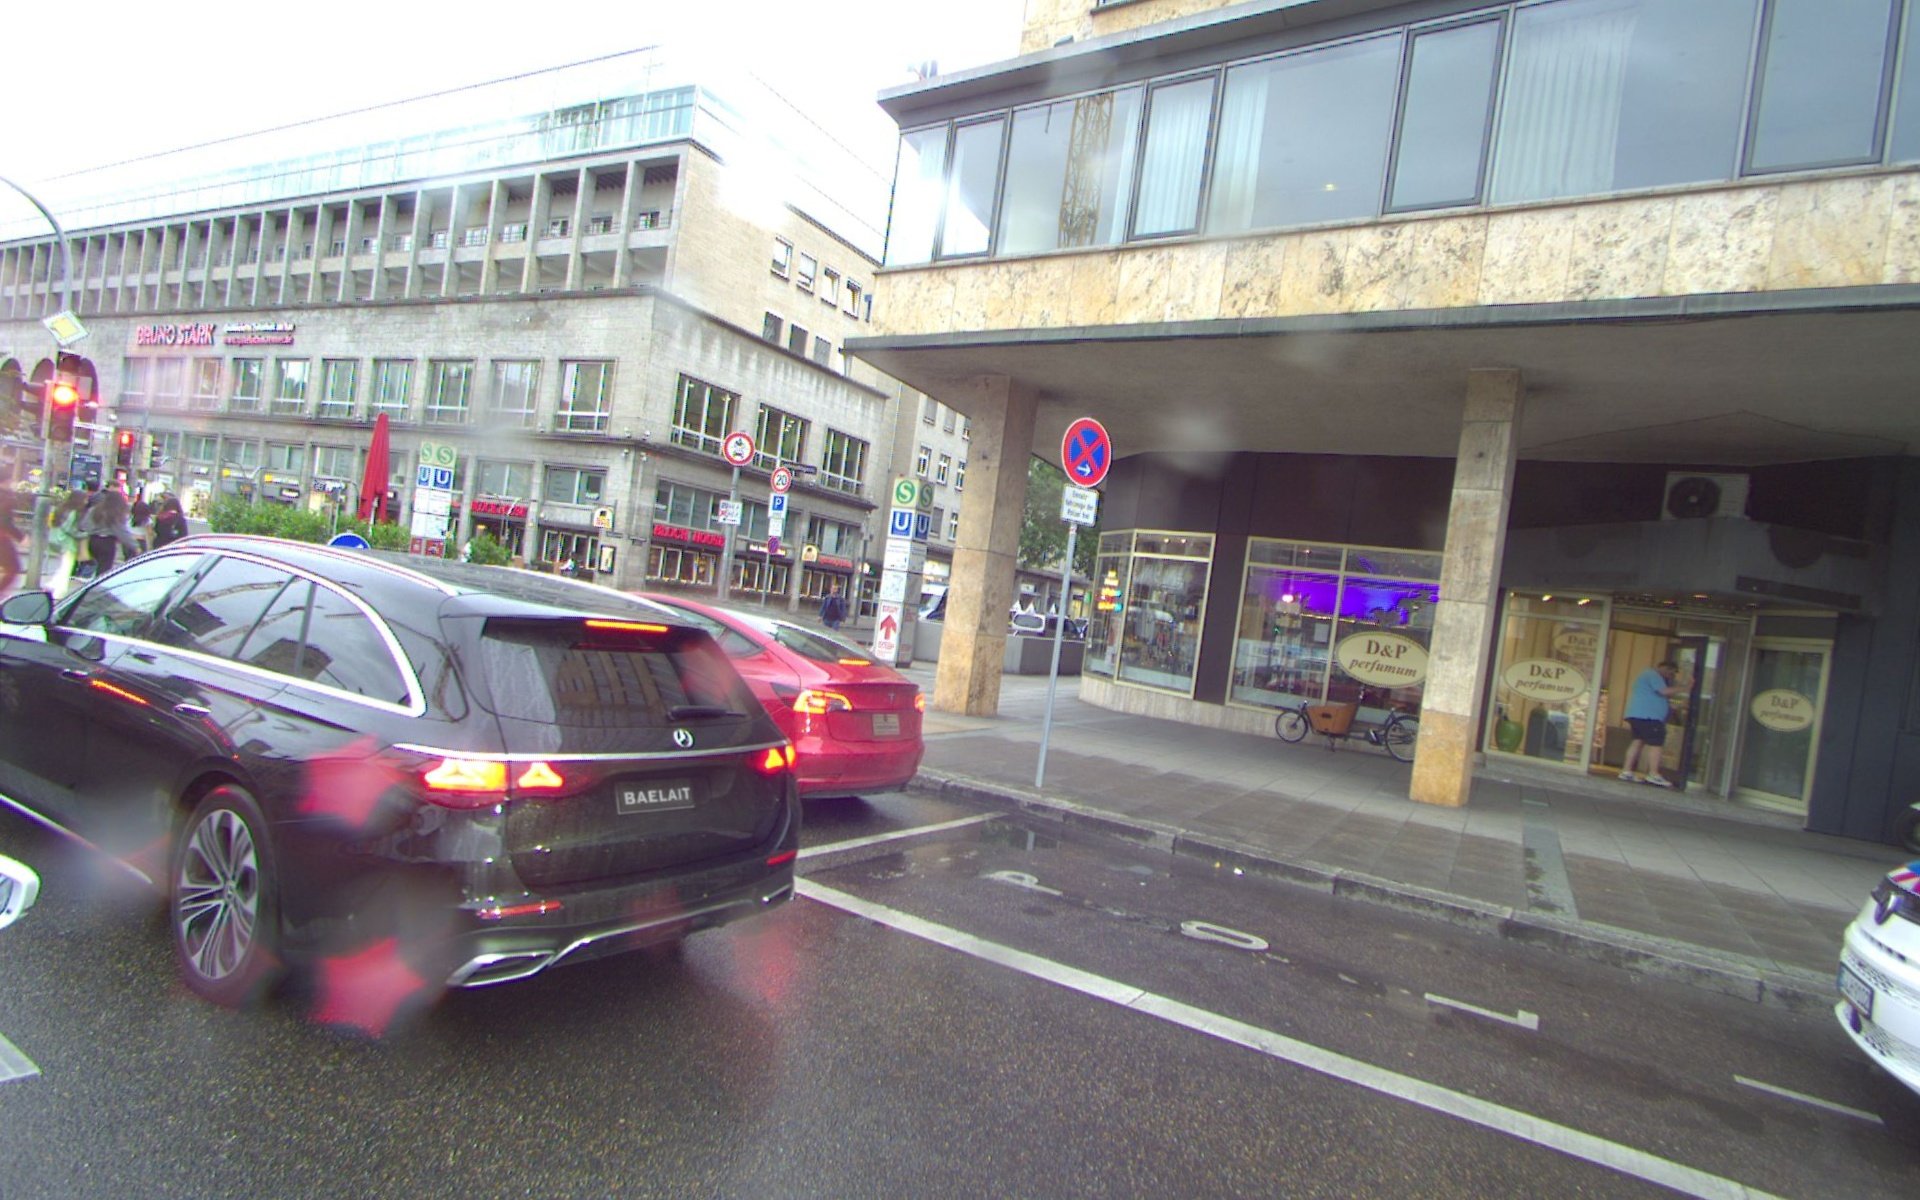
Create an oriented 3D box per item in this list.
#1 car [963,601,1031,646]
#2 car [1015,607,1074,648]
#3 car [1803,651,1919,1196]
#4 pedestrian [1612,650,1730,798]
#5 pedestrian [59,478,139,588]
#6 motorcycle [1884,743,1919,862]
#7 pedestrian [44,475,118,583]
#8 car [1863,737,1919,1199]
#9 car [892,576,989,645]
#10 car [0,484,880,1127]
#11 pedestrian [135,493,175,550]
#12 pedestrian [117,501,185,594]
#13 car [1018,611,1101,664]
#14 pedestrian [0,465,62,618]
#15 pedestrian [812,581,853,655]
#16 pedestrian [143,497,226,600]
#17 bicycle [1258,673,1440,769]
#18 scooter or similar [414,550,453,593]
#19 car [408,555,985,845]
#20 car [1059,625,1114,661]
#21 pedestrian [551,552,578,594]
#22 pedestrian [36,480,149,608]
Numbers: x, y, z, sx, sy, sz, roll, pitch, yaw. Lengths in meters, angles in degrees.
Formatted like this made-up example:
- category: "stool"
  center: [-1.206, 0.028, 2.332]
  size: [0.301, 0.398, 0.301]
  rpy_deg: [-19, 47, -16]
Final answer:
- category: "car"
  center: [2.193, 1.377, 58.376]
  size: [1.966, 2.065, 4.557]
  rpy_deg: [7, -2, 29]
- category: "car"
  center: [5.434, 1.804, 64.161]
  size: [1.966, 2.065, 4.483]
  rpy_deg: [7, -2, 29]
- category: "car"
  center: [5.956, 1.424, 3.008]
  size: [4.853, 1.942, 1.878]
  rpy_deg: [6, -2, 31]
- category: "pedestrian"
  center: [9.710, 1.671, 13.747]
  size: [1.119, 1.811, 0.798]
  rpy_deg: [6, -1, 39]
- category: "pedestrian"
  center: [-14.640, -1.135, 17.119]
  size: [0.458, 1.737, 0.757]
  rpy_deg: [7, -1, 28]
- category: "motorcycle"
  center: [11.132, 2.283, 10.491]
  size: [2.074, 1.232, 0.567]
  rpy_deg: [6, -2, 40]
- category: "pedestrian"
  center: [-15.362, -1.215, 17.597]
  size: [0.561, 1.772, 0.678]
  rpy_deg: [7, -1, -15]
- category: "car"
  center: [3.684, 1.210, 0.646]
  size: [4.271, 1.519, 1.882]
  rpy_deg: [6, -2, 32]
- category: "car"
  center: [-0.895, 0.626, 51.517]
  size: [1.965, 2.792, 6.186]
  rpy_deg: [7, -2, 27]
- category: "car"
  center: [-2.804, 0.455, 4.510]
  size: [4.551, 1.519, 1.797]
  rpy_deg: [6, -2, 31]
- category: "pedestrian"
  center: [-31.341, -3.041, 39.166]
  size: [0.754, 2.037, 0.822]
  rpy_deg: [8, -1, -16]
- category: "pedestrian"
  center: [-13.974, -0.903, 17.389]
  size: [0.360, 1.491, 0.680]
  rpy_deg: [7, -1, 27]
- category: "car"
  center: [4.664, 1.761, 46.555]
  size: [1.966, 1.995, 4.638]
  rpy_deg: [7, -1, 29]
- category: "pedestrian"
  center: [-11.504, -0.721, 11.886]
  size: [0.642, 1.774, 1.097]
  rpy_deg: [7, 2, 29]
- category: "pedestrian"
  center: [-3.230, 0.449, 25.507]
  size: [0.768, 1.777, 0.503]
  rpy_deg: [8, -1, -15]
- category: "pedestrian"
  center: [-13.388, -0.884, 17.377]
  size: [0.609, 1.627, 0.801]
  rpy_deg: [7, -1, 28]
- category: "bicycle"
  center: [5.905, 1.811, 15.355]
  size: [2.431, 1.058, 0.657]
  rpy_deg: [6, -1, 32]
- category: "scooter or similar"
  center: [-16.374, -0.888, 31.269]
  size: [1.000, 1.203, 0.291]
  rpy_deg: [7, -1, 13]
- category: "car"
  center: [-2.254, 0.664, 8.238]
  size: [4.451, 1.503, 1.879]
  rpy_deg: [6, -2, 31]
- category: "car"
  center: [8.895, 3.037, 70.417]
  size: [1.966, 2.065, 4.834]
  rpy_deg: [7, -2, 28]
- category: "pedestrian"
  center: [-15.629, -1.066, 39.795]
  size: [0.748, 1.530, 0.714]
  rpy_deg: [8, -1, -16]
- category: "pedestrian"
  center: [-12.282, -0.788, 14.250]
  size: [0.884, 1.645, 0.795]
  rpy_deg: [7, -1, 28]
